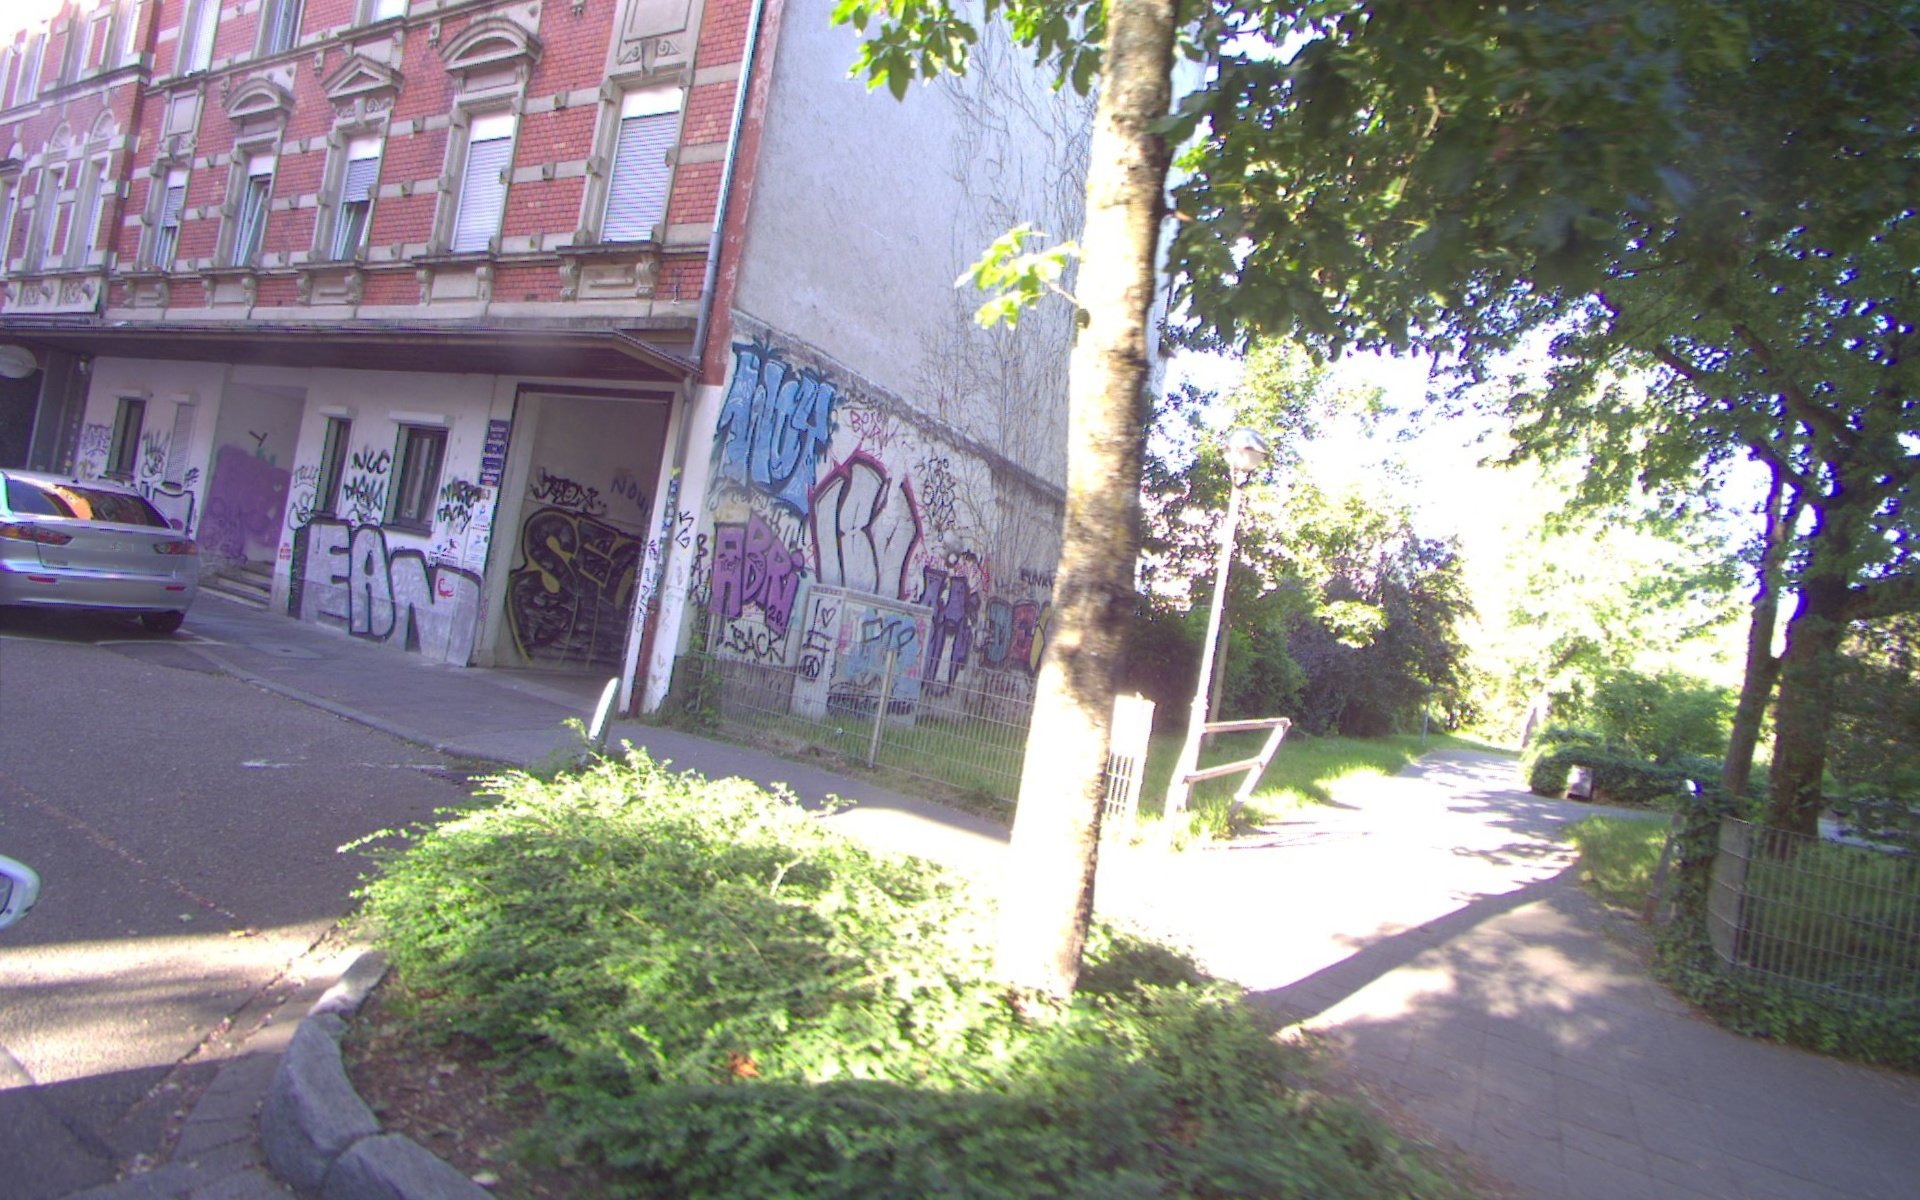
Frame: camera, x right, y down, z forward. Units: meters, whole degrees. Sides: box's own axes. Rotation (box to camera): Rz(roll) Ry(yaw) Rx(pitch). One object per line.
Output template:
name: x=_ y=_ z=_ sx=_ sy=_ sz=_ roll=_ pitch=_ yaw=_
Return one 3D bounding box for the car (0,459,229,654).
car: x=-9.907 y=-0.636 z=10.686 sx=4.323 sy=1.579 sz=1.726 roll=10 pitch=-1 yaw=30
